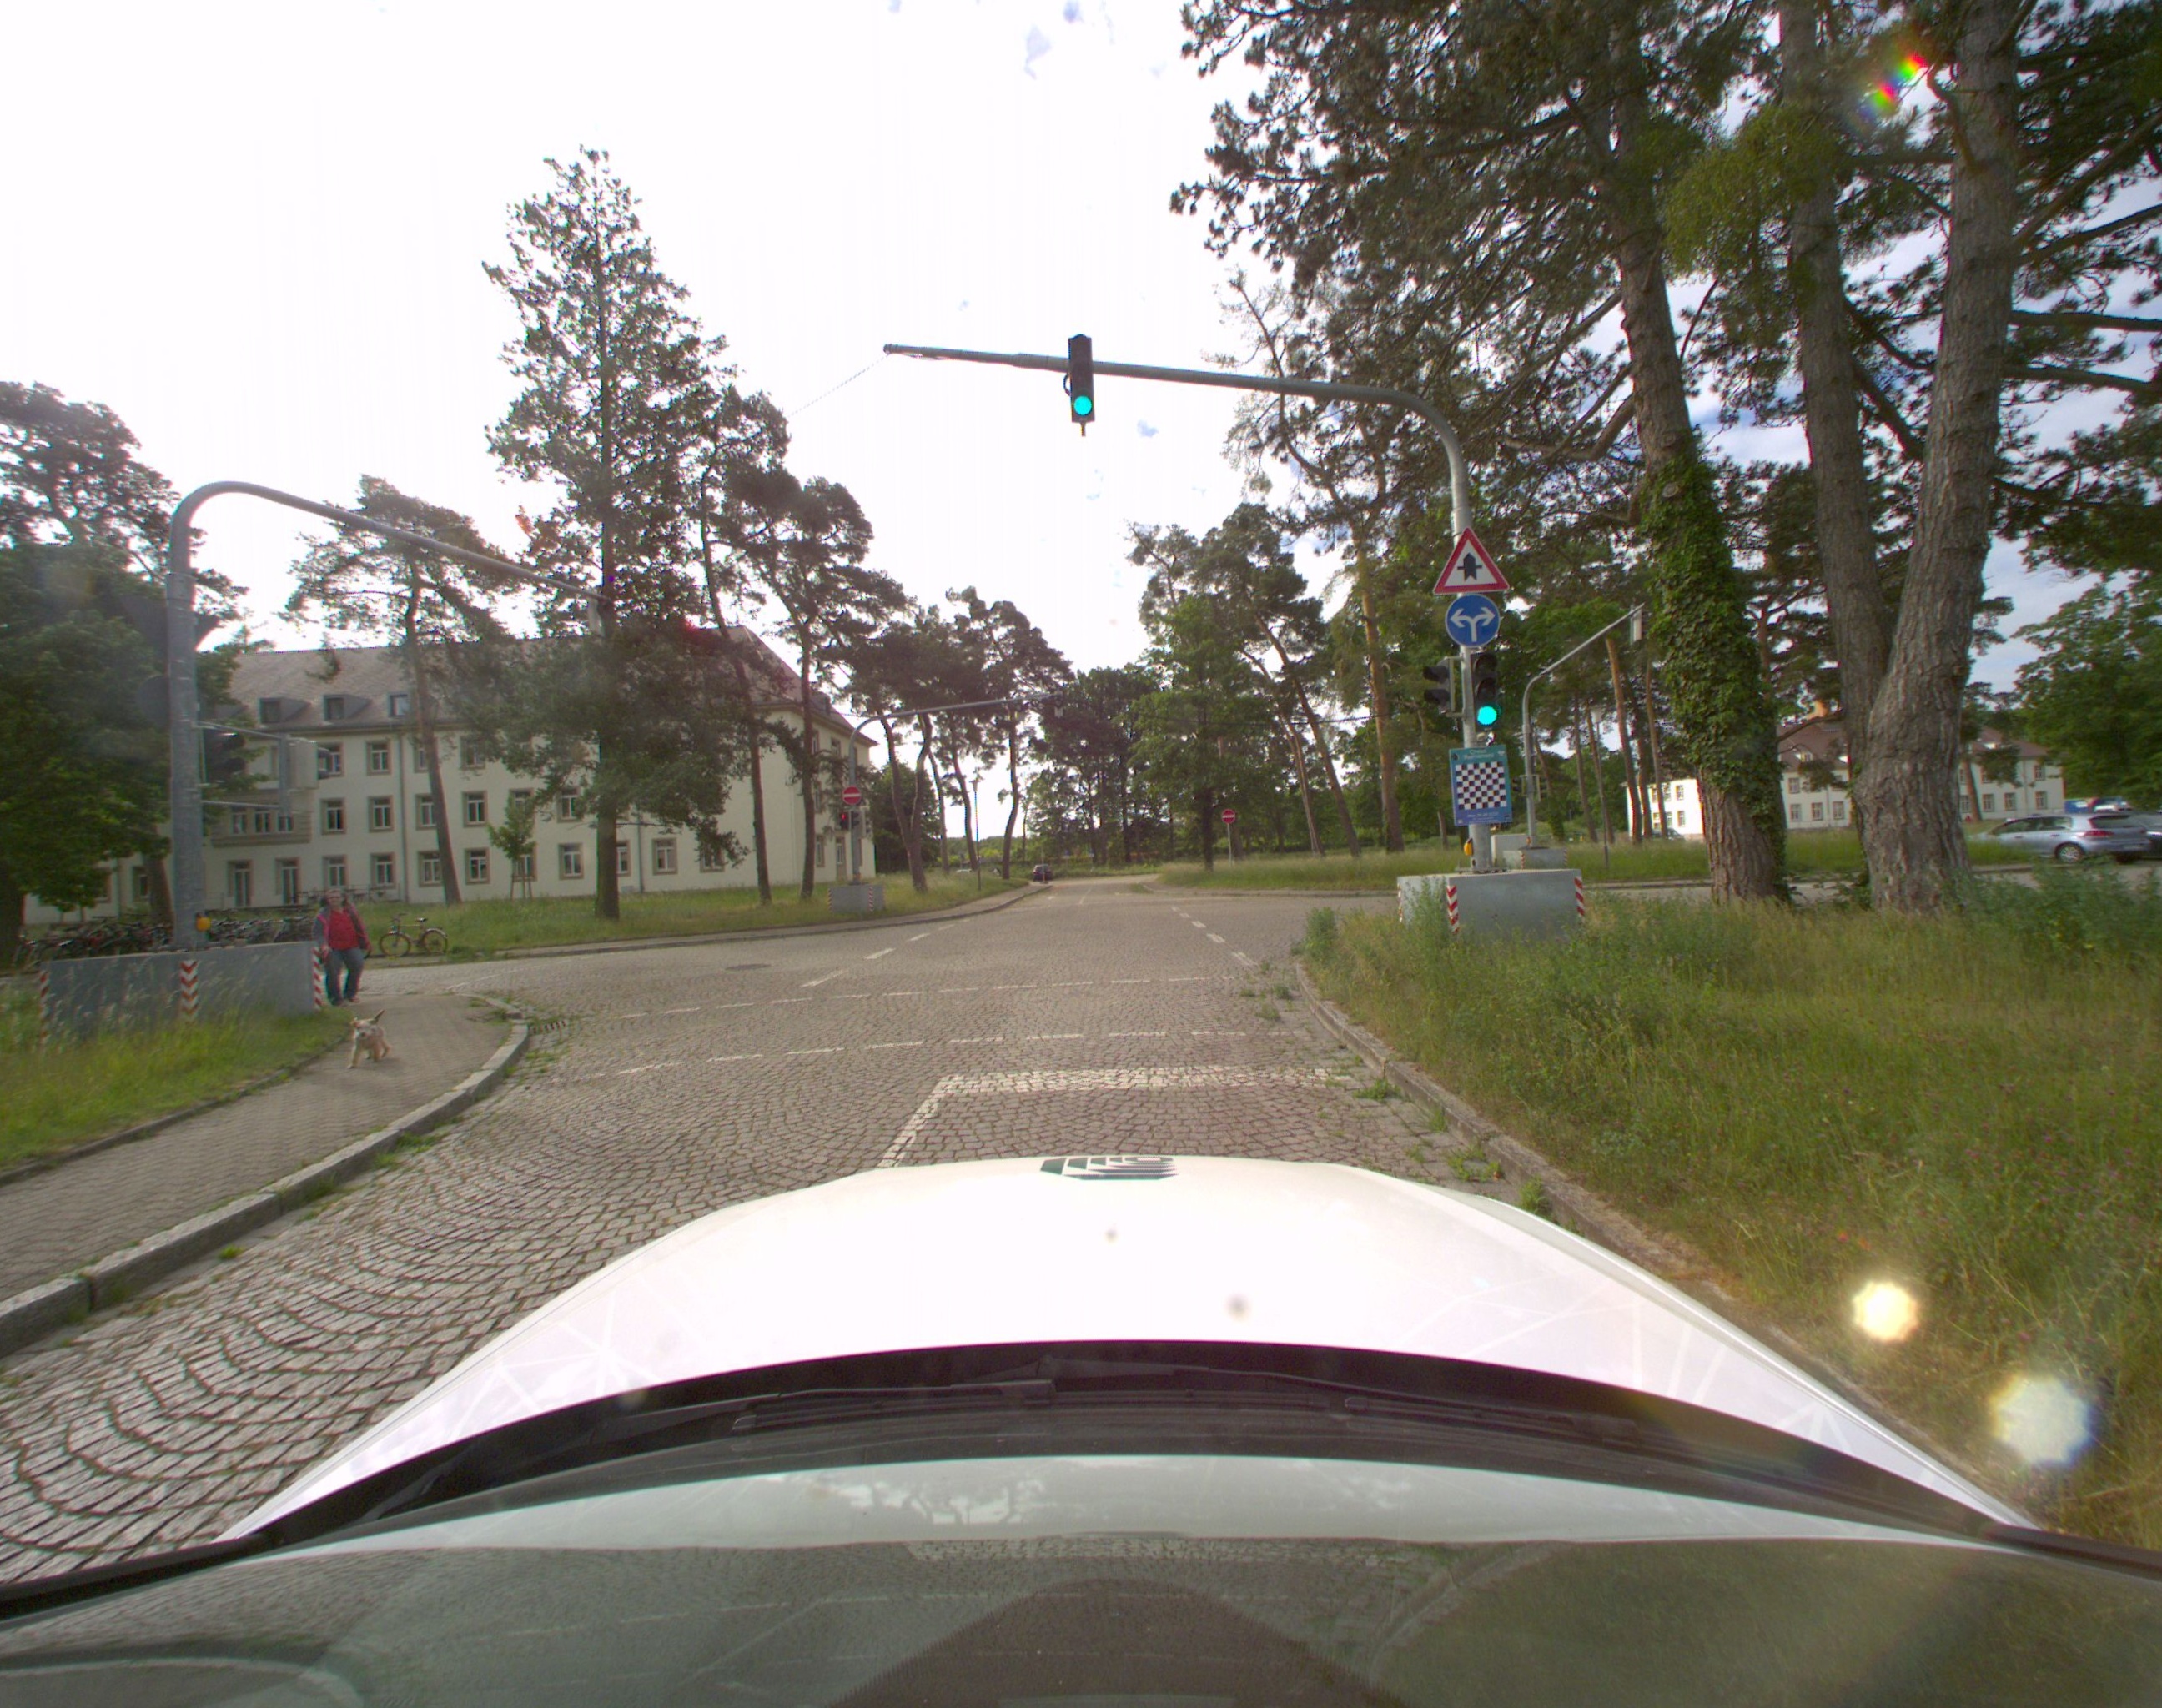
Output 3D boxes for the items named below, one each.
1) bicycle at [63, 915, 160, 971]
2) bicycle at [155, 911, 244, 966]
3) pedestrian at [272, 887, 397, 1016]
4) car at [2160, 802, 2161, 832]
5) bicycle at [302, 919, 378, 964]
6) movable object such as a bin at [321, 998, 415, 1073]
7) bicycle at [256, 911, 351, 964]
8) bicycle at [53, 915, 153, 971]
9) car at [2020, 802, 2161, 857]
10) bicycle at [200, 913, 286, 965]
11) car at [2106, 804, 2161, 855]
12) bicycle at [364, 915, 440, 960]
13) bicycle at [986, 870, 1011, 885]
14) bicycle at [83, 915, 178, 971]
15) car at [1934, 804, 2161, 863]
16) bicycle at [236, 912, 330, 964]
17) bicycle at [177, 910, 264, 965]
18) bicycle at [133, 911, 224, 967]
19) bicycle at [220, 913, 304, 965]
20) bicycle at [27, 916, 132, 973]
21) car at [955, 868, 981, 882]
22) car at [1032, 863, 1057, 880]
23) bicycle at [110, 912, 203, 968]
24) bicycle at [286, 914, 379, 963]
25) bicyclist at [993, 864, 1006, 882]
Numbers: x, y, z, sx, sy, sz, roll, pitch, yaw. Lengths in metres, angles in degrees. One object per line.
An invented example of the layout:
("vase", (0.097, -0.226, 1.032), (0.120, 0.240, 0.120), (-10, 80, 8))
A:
("bicycle", (-25.424, 2.317, 21.395), (0.447, 1.283, 1.695), (-3, -1, 0))
("bicycle", (-23.196, 2.197, 21.475), (0.447, 1.283, 1.695), (-3, -1, 0))
("pedestrian", (-10.454, 1.343, 11.427), (0.852, 1.668, 0.945), (-3, -1, 21))
("car", (36.446, -1.002, 24.588), (1.747, 1.524, 4.445), (-3, 0, -1))
("bicycle", (-18.204, 2.140, 20.013), (1.453, 0.996, 0.452), (-3, -1, 2))
("movable object such as a bin", (-6.619, 1.670, 7.586), (0.445, 0.503, 0.746), (-3, -1, -25))
("bicycle", (-20.398, 2.162, 21.425), (0.573, 1.178, 1.954), (-3, -1, 0))
("bicycle", (-25.889, 2.335, 21.598), (0.441, 1.283, 1.785), (-3, -1, 0))
("car", (31.340, -0.726, 24.130), (1.748, 1.524, 4.444), (-3, 0, -2))
("bicycle", (-21.979, 2.210, 21.395), (0.447, 1.178, 1.695), (-3, -1, 0))
("car", (33.991, -0.806, 24.045), (1.747, 1.524, 4.445), (-3, 0, -1))
("bicycle", (-16.680, 2.041, 20.017), (1.453, 0.996, 0.452), (-3, -1, 2))
("bicycle", (-7.042, 1.990, 69.335), (1.981, 1.095, 0.809), (-3, -1, -3))
("bicycle", (-24.937, 2.303, 21.401), (0.447, 1.283, 1.695), (-3, -1, 0))
("car", (28.926, -0.544, 24.608), (1.745, 1.524, 4.451), (-3, -1, 3))
("bicycle", (-20.980, 2.181, 21.461), (0.525, 1.178, 1.930), (-3, -1, 0))
("bicycle", (-22.691, 2.182, 21.511), (0.447, 1.283, 1.695), (-3, -1, 0))
("bicycle", (-23.712, 2.212, 21.438), (0.447, 1.283, 1.695), (-3, -1, 0))
("bicycle", (-21.493, 2.208, 21.410), (0.447, 1.178, 1.695), (-3, -1, 0))
("bicycle", (-26.355, 2.348, 21.471), (0.447, 1.283, 1.827), (-3, -1, 0))
("car", (-10.881, 2.003, 78.426), (1.682, 1.156, 4.003), (-3, -1, 3))
("car", (-3.442, 1.628, 77.098), (1.985, 1.508, 4.003), (-1, 0, 3))
("bicycle", (-24.275, 2.229, 21.421), (0.447, 1.283, 1.695), (-3, -1, 0))
("bicycle", (-19.699, 2.207, 21.494), (0.573, 1.078, 1.996), (-3, -1, 0))
("bicyclist", (-6.962, 1.612, 69.349), (0.972, 1.510, 0.807), (-3, -1, -2))
